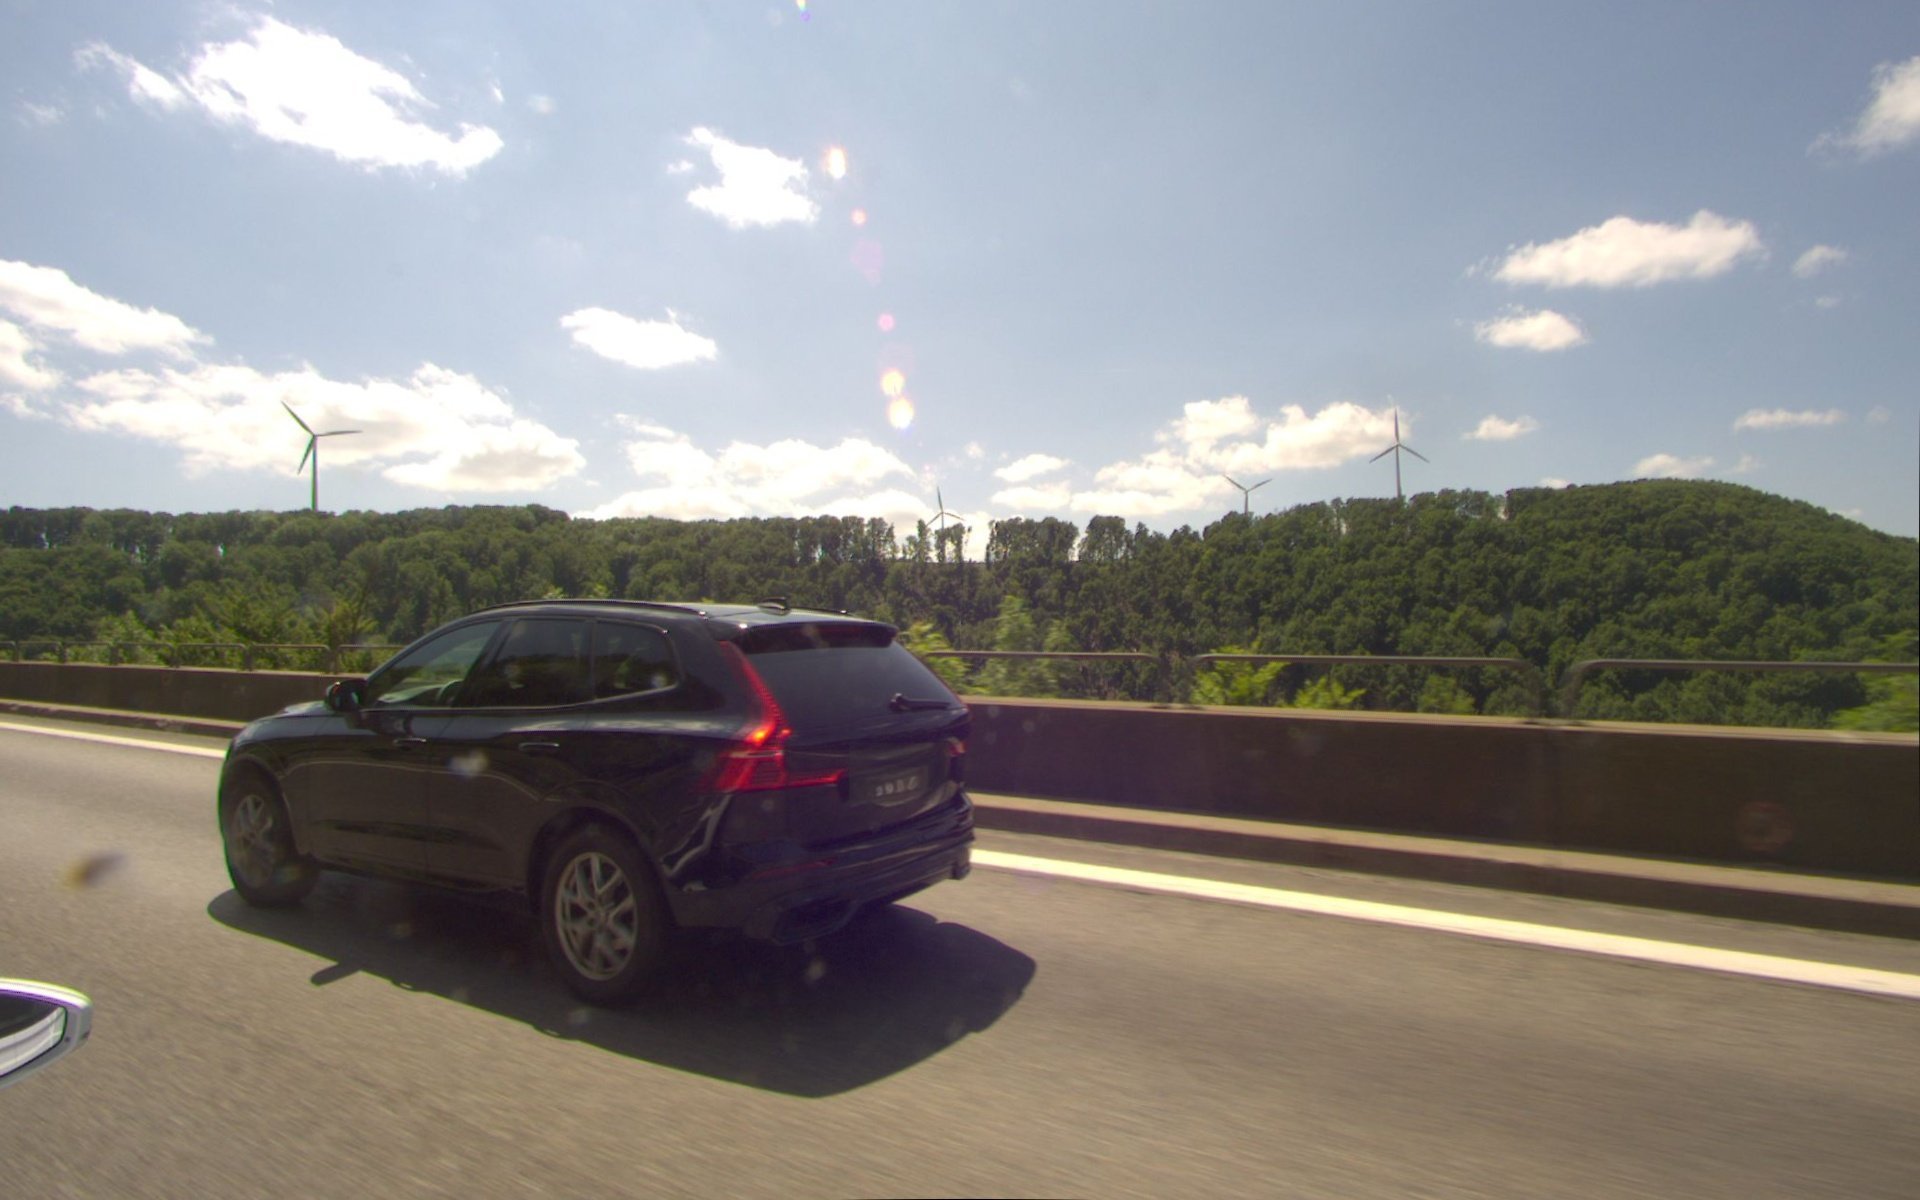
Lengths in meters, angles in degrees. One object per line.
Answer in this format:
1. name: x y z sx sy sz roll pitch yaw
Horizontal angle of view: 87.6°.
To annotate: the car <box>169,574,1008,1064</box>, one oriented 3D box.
1. car: -2.181 0.811 5.398 4.595 1.654 1.832 -1 -2 32
